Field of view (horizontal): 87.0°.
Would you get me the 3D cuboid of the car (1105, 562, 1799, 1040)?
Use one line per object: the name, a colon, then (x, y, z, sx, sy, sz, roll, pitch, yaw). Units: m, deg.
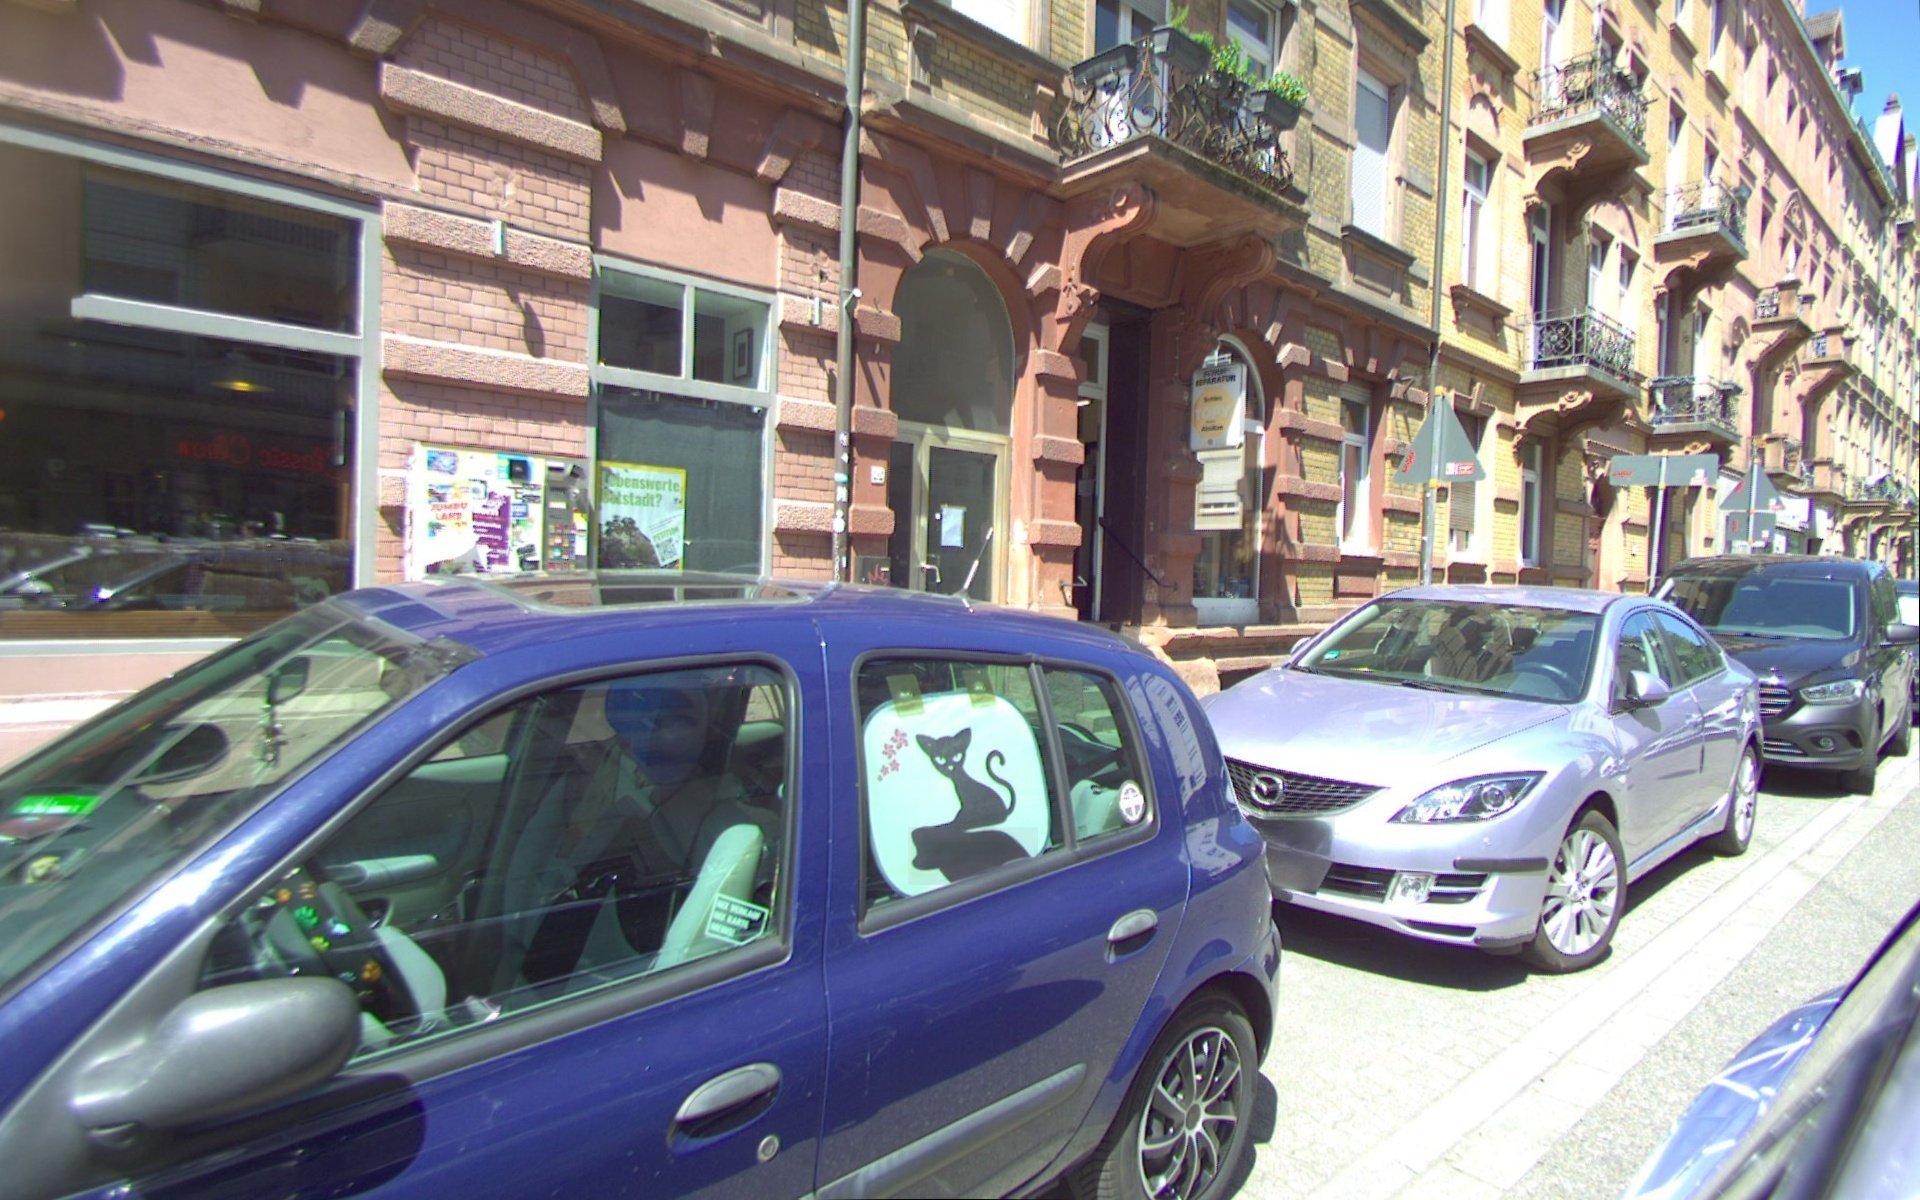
car: (2.864, 0.603, 5.309, 4.409, 1.449, 1.728, 0, 3, -43)

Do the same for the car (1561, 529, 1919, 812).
car: (6.866, 0.400, 8.575, 4.264, 1.788, 1.828, 0, 3, -43)

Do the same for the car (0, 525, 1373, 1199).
car: (-0.816, 0.619, 2.045, 3.598, 1.449, 1.630, 0, 3, -43)

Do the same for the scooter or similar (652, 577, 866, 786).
scooter or similar: (-1.217, 0.470, 6.237, 1.246, 1.191, 0.294, 1, 1, -31)

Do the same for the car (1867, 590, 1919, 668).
car: (19.884, 0.563, 20.563, 3.933, 1.479, 1.827, 0, 1, -43)

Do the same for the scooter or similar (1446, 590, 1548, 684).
scooter or similar: (7.285, 0.469, 13.683, 2.112, 1.167, 0.477, 0, 1, -41)

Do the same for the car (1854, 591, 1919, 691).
car: (15.604, 0.606, 16.227, 1.761, 1.467, 3.844, 2, 1, 43)

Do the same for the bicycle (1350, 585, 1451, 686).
bicycle: (5.246, 0.398, 12.003, 1.725, 1.117, 0.354, 0, 2, -41)

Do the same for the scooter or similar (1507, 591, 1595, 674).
scooter or similar: (8.871, 0.463, 15.152, 2.075, 1.167, 0.477, 0, 1, -41)

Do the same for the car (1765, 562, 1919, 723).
car: (11.646, 0.442, 12.695, 3.930, 1.755, 1.705, 0, 1, -41)
